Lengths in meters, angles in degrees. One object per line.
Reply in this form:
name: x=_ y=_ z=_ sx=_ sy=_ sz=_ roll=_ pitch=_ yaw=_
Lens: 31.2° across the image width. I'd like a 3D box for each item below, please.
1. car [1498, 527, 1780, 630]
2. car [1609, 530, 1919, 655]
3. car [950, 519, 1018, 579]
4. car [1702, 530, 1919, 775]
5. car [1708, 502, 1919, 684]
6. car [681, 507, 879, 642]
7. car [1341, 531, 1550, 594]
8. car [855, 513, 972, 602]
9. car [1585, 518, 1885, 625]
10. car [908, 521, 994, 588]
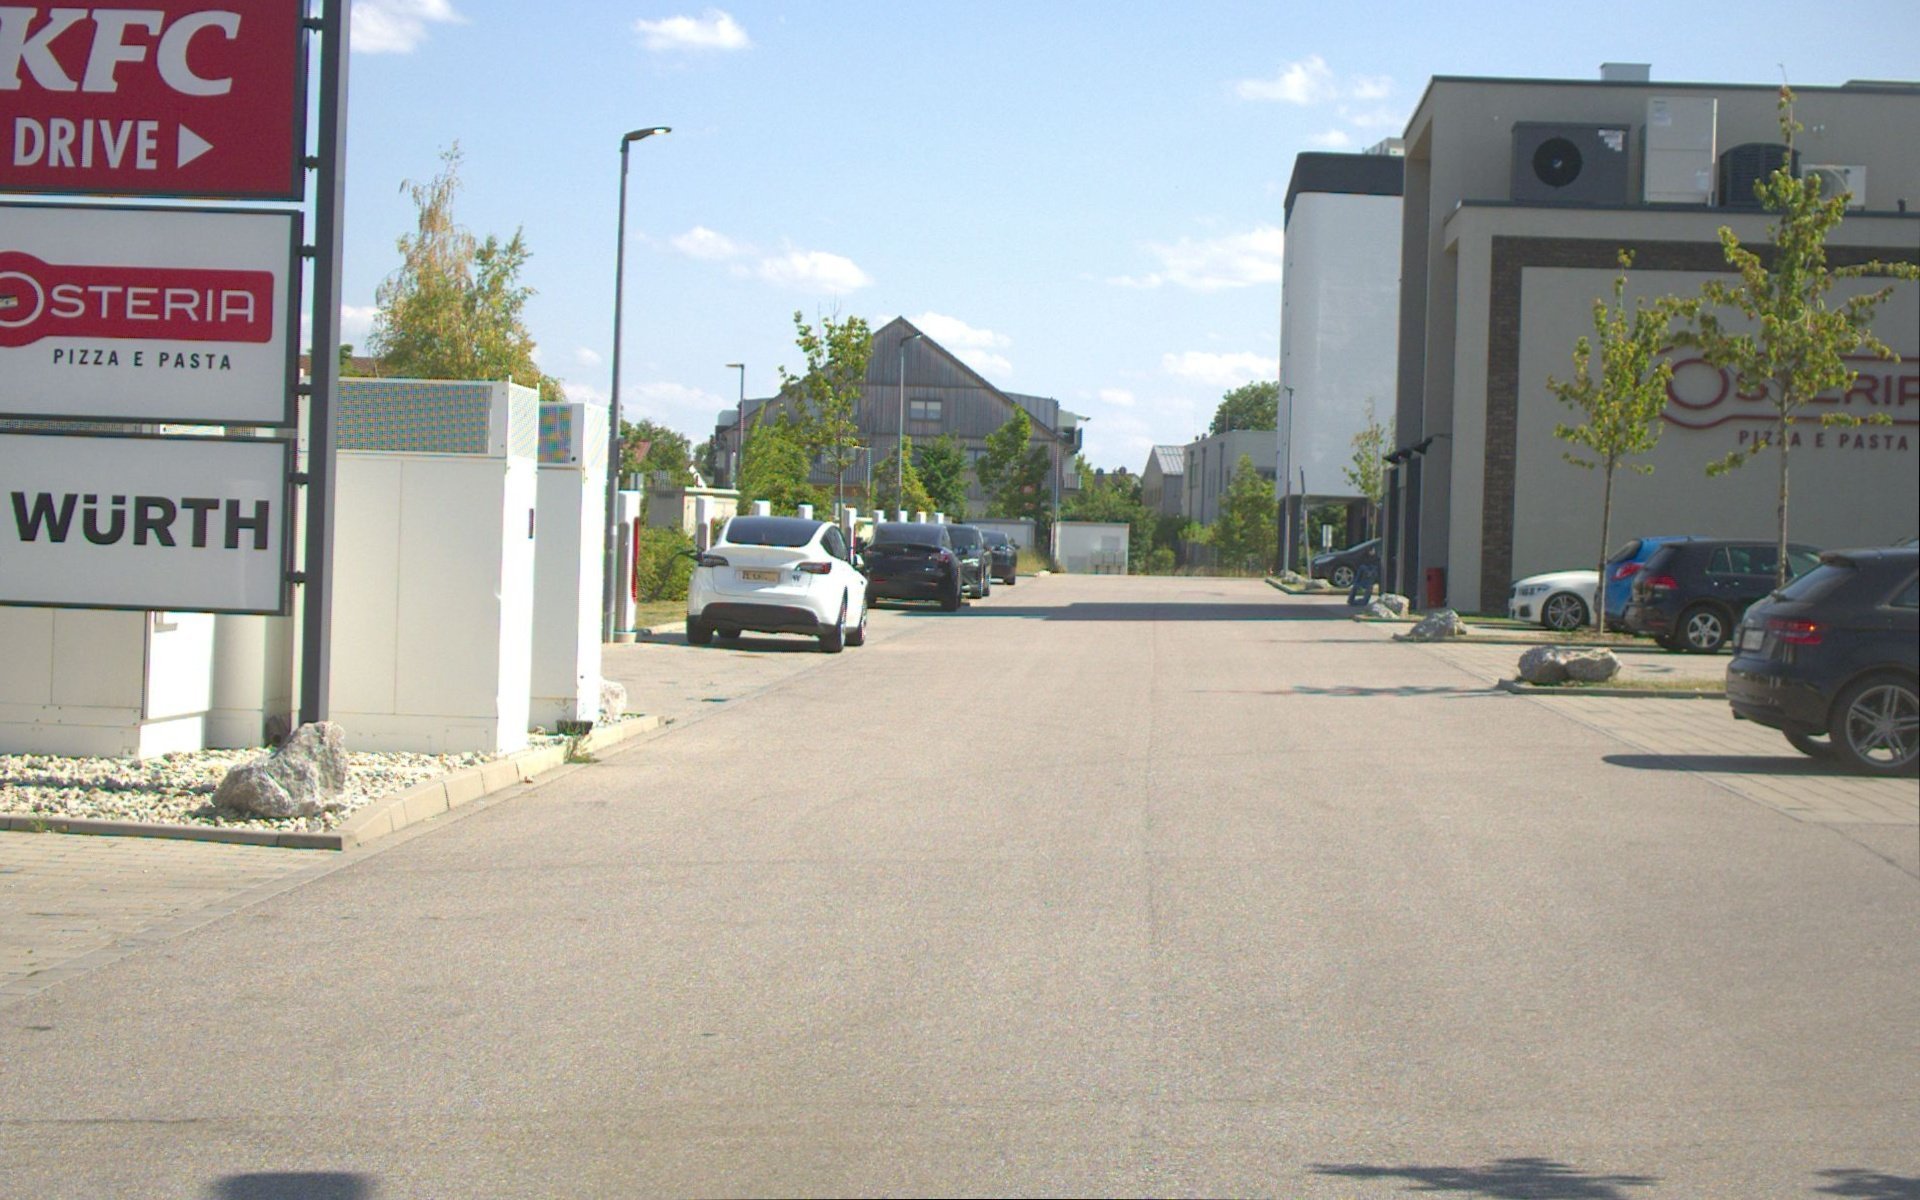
car: x=10.461 y=-0.343 z=53.144 sx=3.987 sy=1.415 sz=1.651 roll=2 pitch=1 yaw=0
car: x=10.377 y=-0.102 z=43.446 sx=3.987 sy=1.415 sz=1.651 roll=2 pitch=1 yaw=0
car: x=0.674 y=-1.406 z=93.674 sx=1.743 sy=1.563 sz=4.000 roll=2 pitch=1 yaw=2
car: x=6.950 y=0.359 z=21.579 sx=4.201 sy=1.436 sz=1.698 roll=2 pitch=1 yaw=3
car: x=9.678 y=-0.039 z=33.439 sx=4.369 sy=1.679 sz=1.642 roll=2 pitch=1 yaw=-1
car: x=-2.220 y=-0.350 z=43.376 sx=1.945 sy=1.563 sz=4.000 roll=2 pitch=1 yaw=4
car: x=9.842 y=-0.777 z=69.889 sx=3.987 sy=1.152 sz=2.000 roll=1 pitch=2 yaw=2
car: x=-0.842 y=-0.818 z=64.642 sx=1.945 sy=1.563 sz=4.000 roll=2 pitch=1 yaw=2
car: x=11.345 y=-0.431 z=50.518 sx=3.987 sy=1.415 sz=1.651 roll=2 pitch=1 yaw=0
car: x=-0.169 y=-1.033 z=76.563 sx=1.743 sy=1.382 sz=4.000 roll=2 pitch=1 yaw=2
